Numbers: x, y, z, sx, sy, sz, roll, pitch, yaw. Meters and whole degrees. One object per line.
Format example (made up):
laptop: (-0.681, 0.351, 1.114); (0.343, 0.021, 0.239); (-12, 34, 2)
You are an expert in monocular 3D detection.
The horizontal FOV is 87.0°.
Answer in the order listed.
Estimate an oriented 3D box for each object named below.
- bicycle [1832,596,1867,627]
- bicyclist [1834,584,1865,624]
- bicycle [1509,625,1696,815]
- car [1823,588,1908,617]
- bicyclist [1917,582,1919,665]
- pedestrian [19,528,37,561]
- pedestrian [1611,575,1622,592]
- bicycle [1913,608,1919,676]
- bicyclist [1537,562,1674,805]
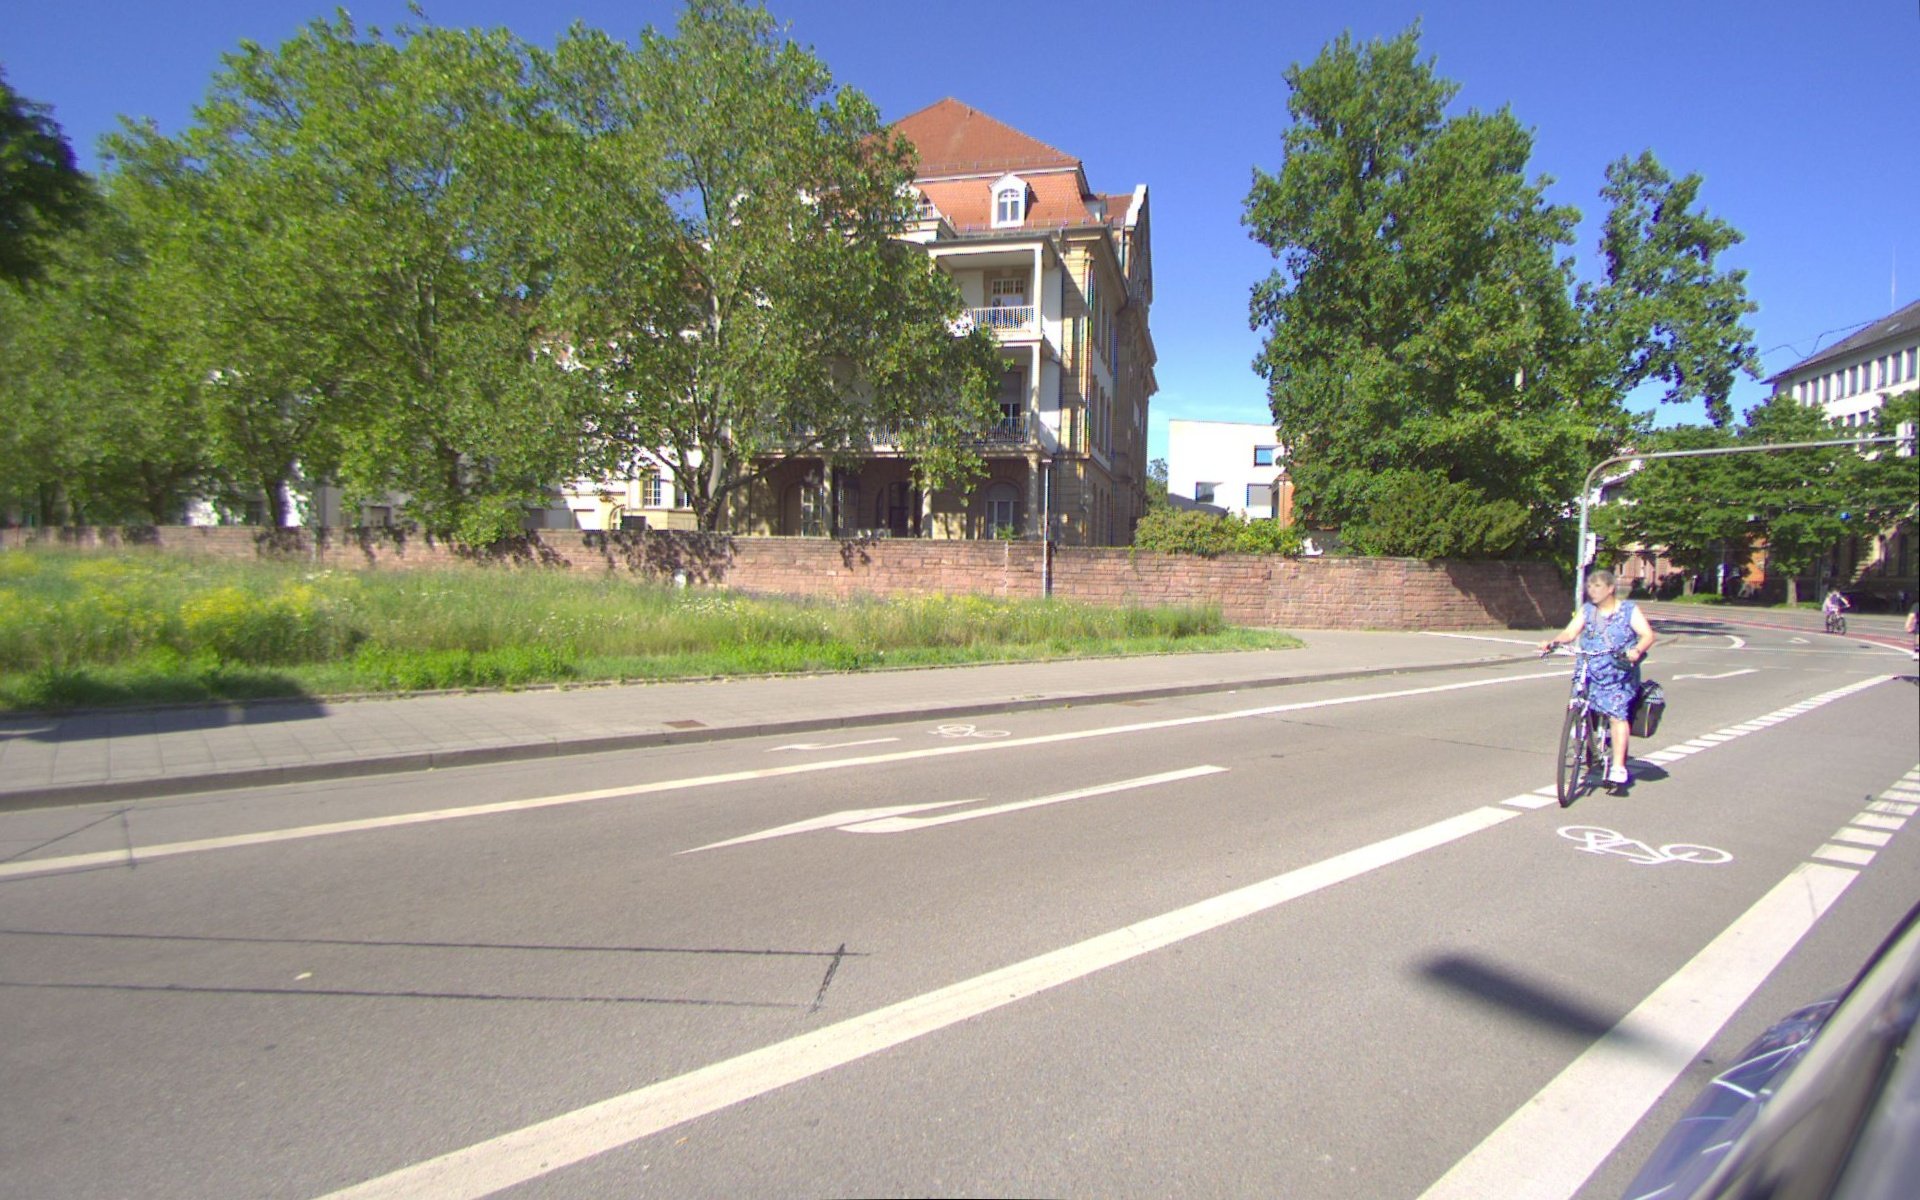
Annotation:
bicycle: (35.257, 0.456, 40.123); (1.933, 1.179, 0.778); (0, 1, -41)
bicyclist: (35.284, 0.141, 40.148); (0.903, 1.571, 0.778); (0, 1, -41)
bicycle: (4.841, 0.816, 7.569); (1.933, 1.179, 0.642); (0, 1, -41)
car: (60.921, 0.153, 68.143); (3.731, 1.838, 1.999); (1, 2, 3)
bicyclist: (17.475, 0.429, 17.940); (0.936, 1.462, 0.642); (1, 0, -41)
pedestrian: (-46.762, -2.773, 50.793); (0.642, 1.631, 0.557); (0, 0, -42)
pedestrian: (60.837, -1.527, 93.783); (0.627, 1.631, 0.842); (0, 0, 15)
bicycle: (17.568, 0.743, 18.042); (1.837, 1.180, 0.642); (0, 0, -41)
bicyclist: (4.784, 0.564, 7.502); (0.763, 1.683, 0.642); (-1, 2, -41)
